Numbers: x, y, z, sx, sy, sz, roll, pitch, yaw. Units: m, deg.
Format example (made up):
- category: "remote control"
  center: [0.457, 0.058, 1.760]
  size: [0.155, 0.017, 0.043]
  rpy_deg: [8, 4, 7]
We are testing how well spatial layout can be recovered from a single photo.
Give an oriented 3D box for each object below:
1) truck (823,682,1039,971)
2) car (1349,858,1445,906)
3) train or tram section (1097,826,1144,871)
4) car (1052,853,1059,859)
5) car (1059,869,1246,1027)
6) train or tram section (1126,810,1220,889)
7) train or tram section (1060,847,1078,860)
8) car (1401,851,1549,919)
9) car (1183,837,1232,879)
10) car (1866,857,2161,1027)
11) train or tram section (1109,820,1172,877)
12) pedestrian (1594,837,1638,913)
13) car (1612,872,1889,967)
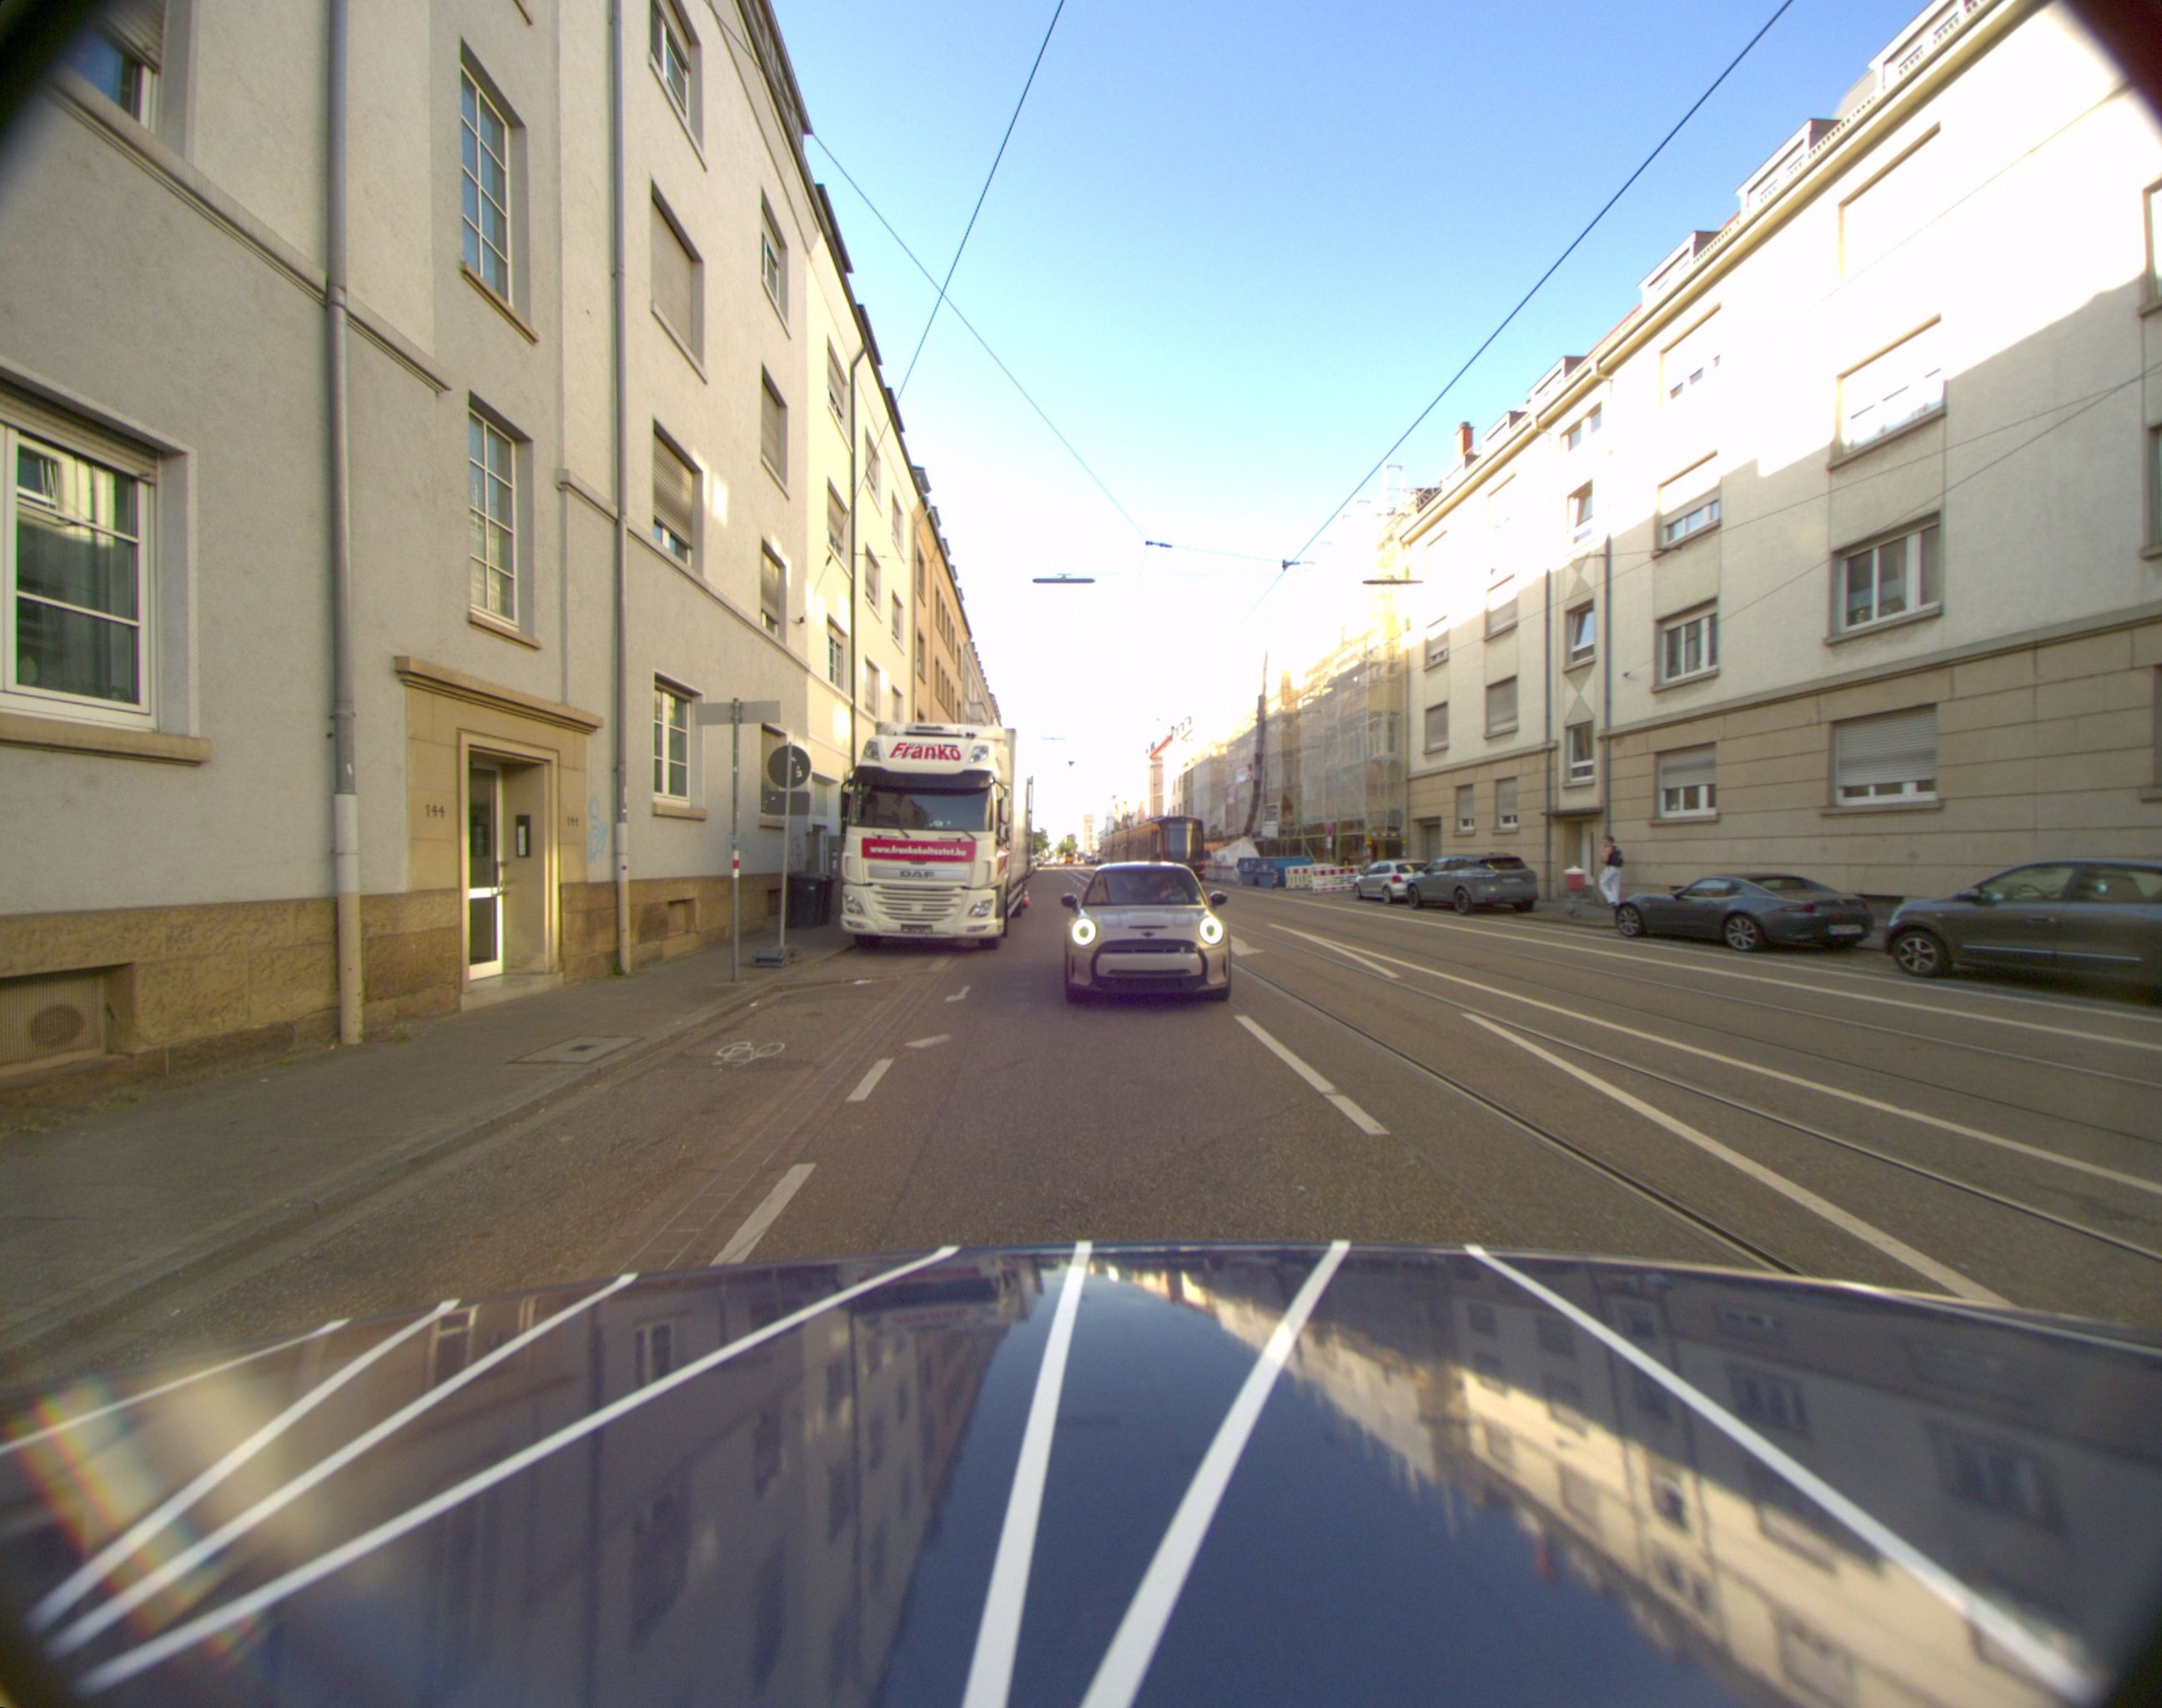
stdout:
- category: "truck"
  center: [-2.503, -0.501, 17.037]
  size: [2.700, 4.214, 11.773]
  rpy_deg: [0, 1, -1]
- category: "car"
  center: [10.645, 0.898, 25.823]
  size: [1.565, 1.372, 3.506]
  rpy_deg: [-3, 1, -4]
- category: "train or tram section"
  center: [3.315, -0.516, 67.637]
  size: [2.867, 3.542, 13.330]
  rpy_deg: [0, 1, -3]
- category: "car"
  center: [-8.115, 0.745, 245.128]
  size: [1.999, 1.871, 4.269]
  rpy_deg: [-2, 1, -4]
- category: "car"
  center: [0.658, 0.912, 8.979]
  size: [1.727, 1.416, 3.817]
  rpy_deg: [0, -1, 0]
- category: "train or tram section"
  center: [4.588, -0.267, 41.149]
  size: [2.867, 3.542, 13.038]
  rpy_deg: [0, 1, -3]
- category: "train or tram section"
  center: [-3.678, -0.233, 230.713]
  size: [3.881, 3.616, 14.401]
  rpy_deg: [-2, 1, -7]
- category: "car"
  center: [10.830, 0.773, 21.258]
  size: [1.752, 1.600, 4.157]
  rpy_deg: [-3, 1, -4]
- category: "car"
  center: [8.796, 0.256, 53.360]
  size: [2.215, 2.681, 5.871]
  rpy_deg: [-2, 1, -2]
- category: "car"
  center: [11.354, 0.874, 8.351]
  size: [1.644, 1.549, 3.594]
  rpy_deg: [-3, 1, -2]
- category: "train or tram section"
  center: [3.963, -0.391, 54.333]
  size: [2.867, 3.542, 13.330]
  rpy_deg: [0, 1, -3]
- category: "pedestrian"
  center: [13.476, 0.521, 19.168]
  size: [0.519, 1.861, 0.762]
  rpy_deg: [-2, 1, -2]
- category: "car"
  center: [11.117, 1.008, 12.967]
  size: [1.476, 1.212, 3.522]
  rpy_deg: [-3, 1, -4]
